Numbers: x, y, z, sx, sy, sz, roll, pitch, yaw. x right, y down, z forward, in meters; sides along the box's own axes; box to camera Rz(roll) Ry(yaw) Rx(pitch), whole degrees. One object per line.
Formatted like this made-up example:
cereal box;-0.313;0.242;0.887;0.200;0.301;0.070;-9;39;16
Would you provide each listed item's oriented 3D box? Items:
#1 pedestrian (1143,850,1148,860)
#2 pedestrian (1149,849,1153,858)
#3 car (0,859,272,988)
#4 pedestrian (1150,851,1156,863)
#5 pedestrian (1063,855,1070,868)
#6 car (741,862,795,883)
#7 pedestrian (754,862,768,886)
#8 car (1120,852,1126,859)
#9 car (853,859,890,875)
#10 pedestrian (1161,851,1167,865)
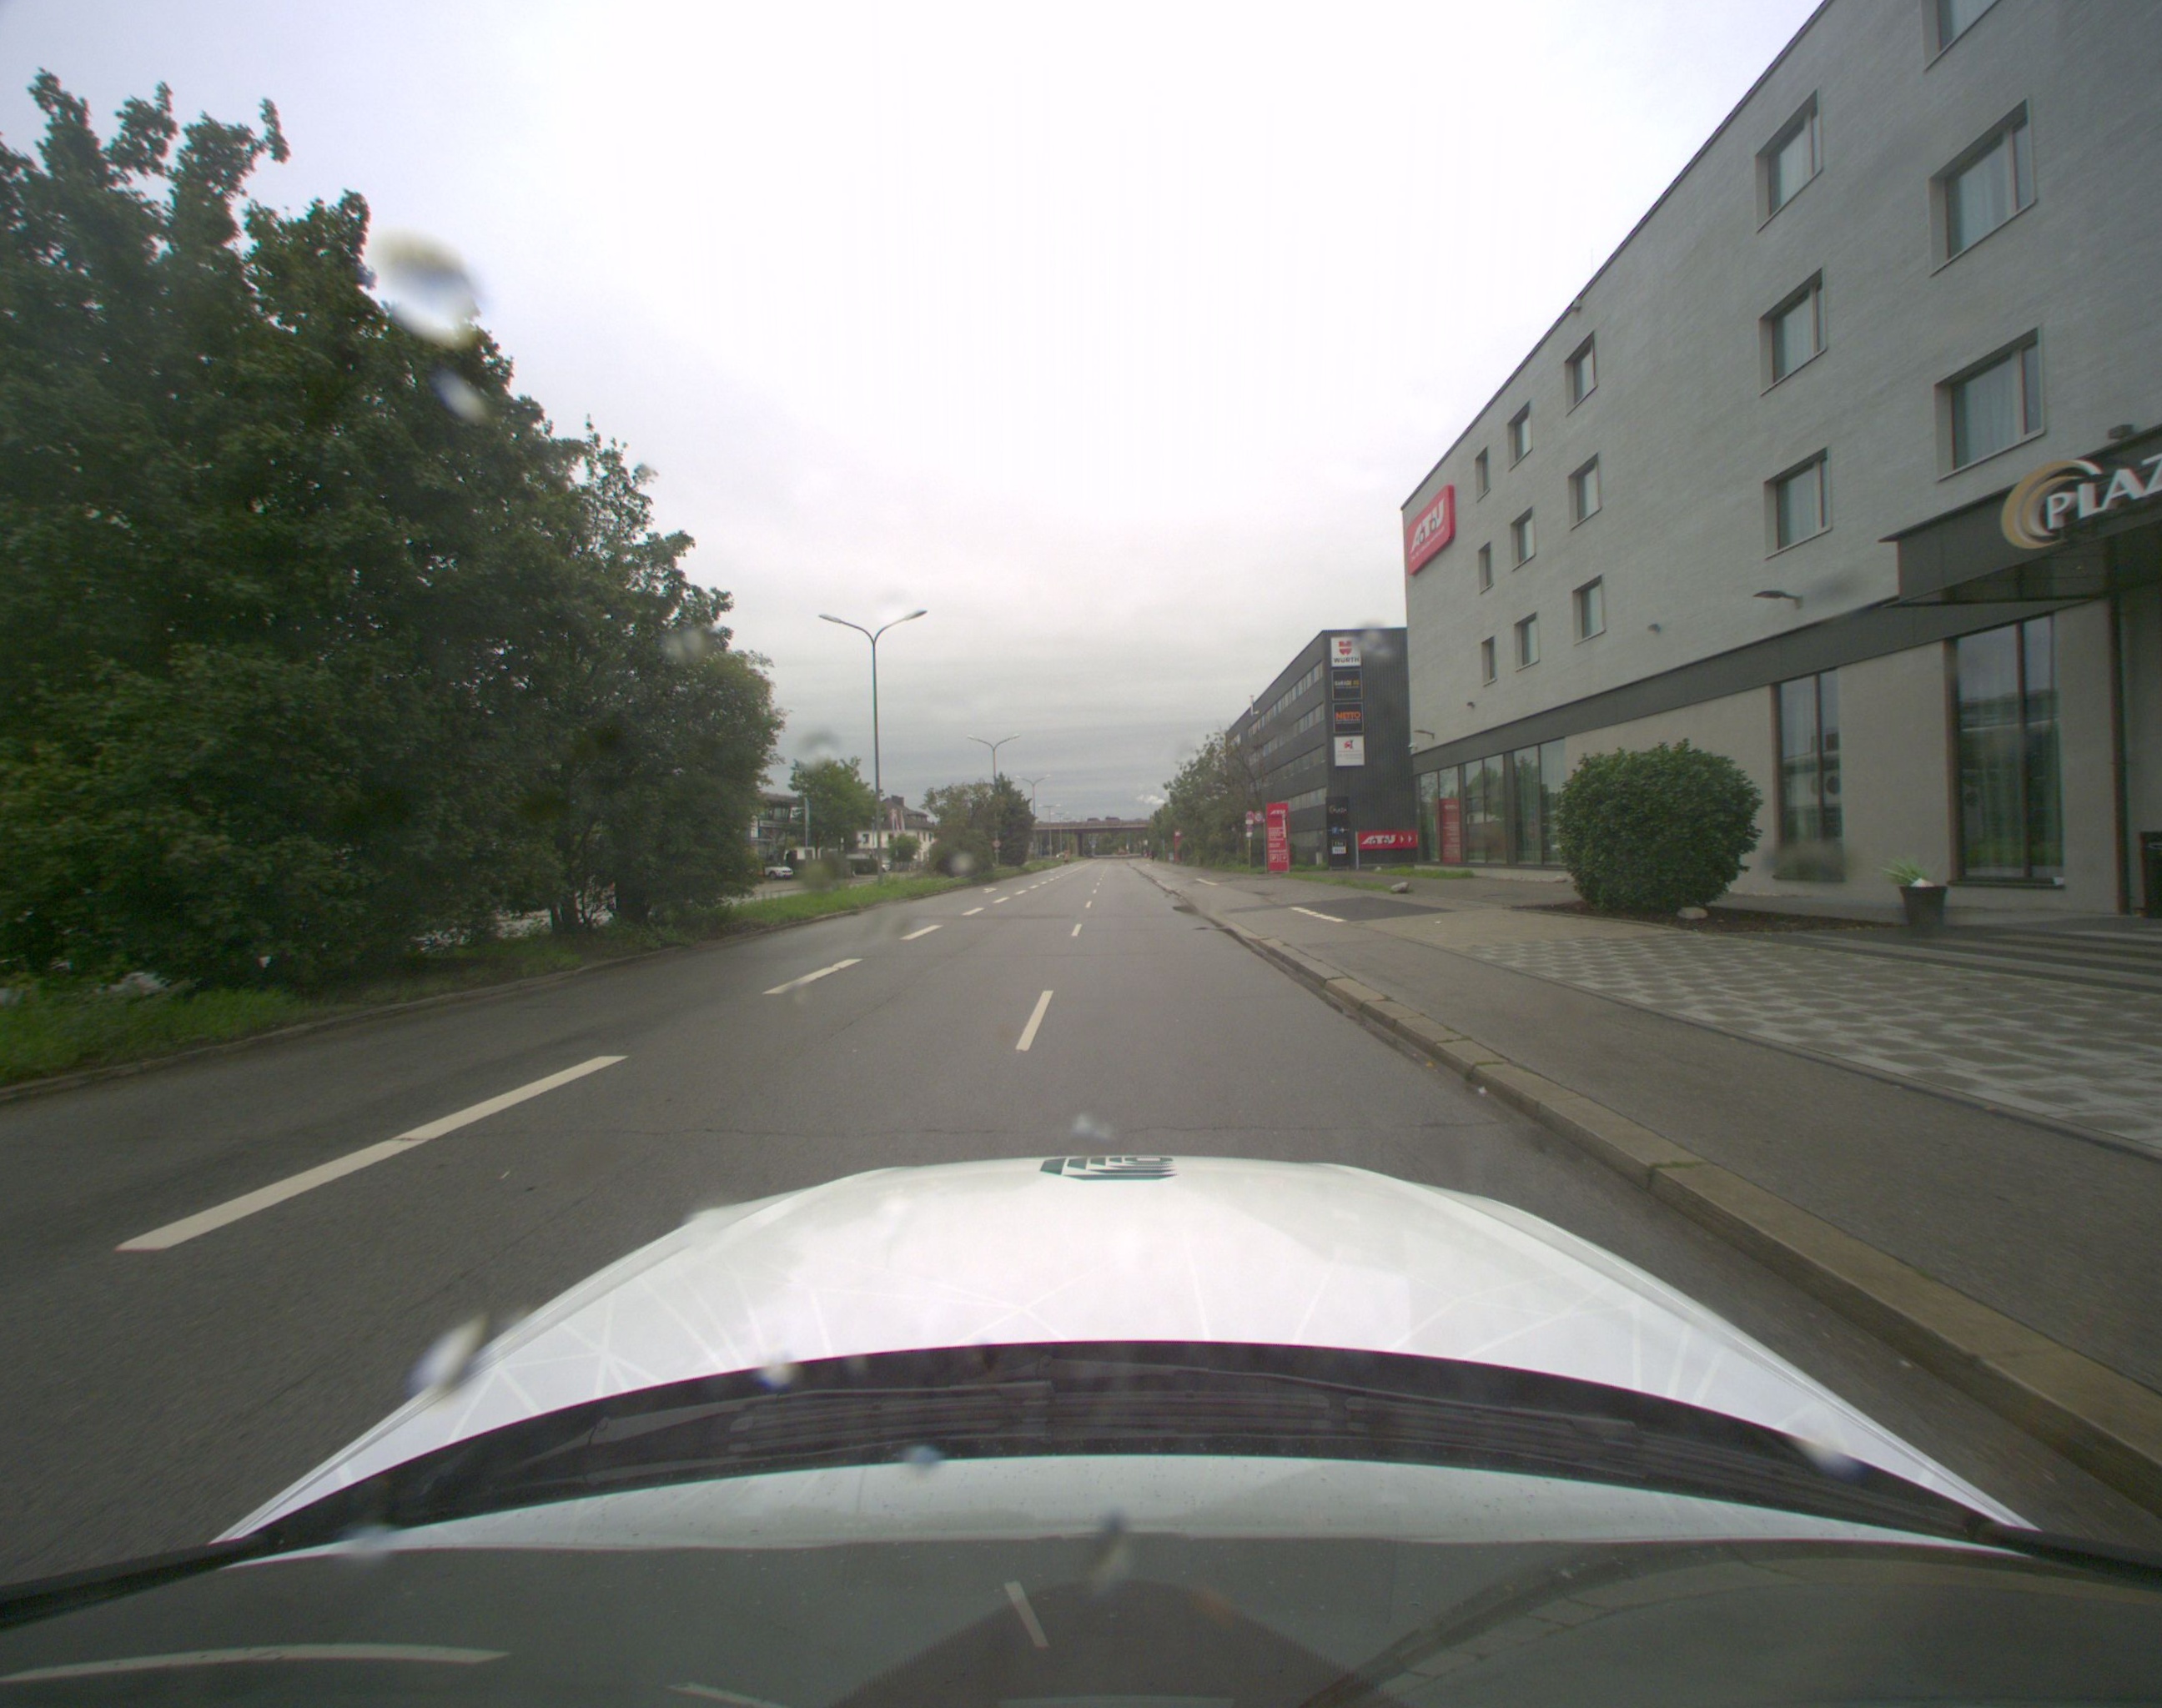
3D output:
pedestrian;11.685;0.184;147.376;0.686;1.617;0.662;-3;0;1
pedestrian;12.668;-0.133;147.968;0.686;1.617;0.662;-3;0;1
car;-17.568;1.133;14.437;1.986;1.960;4.325;-3;0;1
pedestrian;11.017;0.475;124.312;0.686;1.876;0.662;-3;0;1
pedestrian;-1.848;0.912;104.197;0.656;1.617;0.692;-3;0;7
car;-25.969;1.576;67.671;3.951;1.509;1.811;-3;0;23
pedestrian;-21.987;1.356;55.919;0.634;1.610;0.621;-3;0;1
car;12.632;0.440;243.353;1.804;2.013;3.837;-1;0;4
car;-25.410;1.535;98.999;4.142;1.708;1.843;-3;0;-10
pedestrian;11.486;0.527;112.887;0.686;1.876;0.662;-3;0;1
